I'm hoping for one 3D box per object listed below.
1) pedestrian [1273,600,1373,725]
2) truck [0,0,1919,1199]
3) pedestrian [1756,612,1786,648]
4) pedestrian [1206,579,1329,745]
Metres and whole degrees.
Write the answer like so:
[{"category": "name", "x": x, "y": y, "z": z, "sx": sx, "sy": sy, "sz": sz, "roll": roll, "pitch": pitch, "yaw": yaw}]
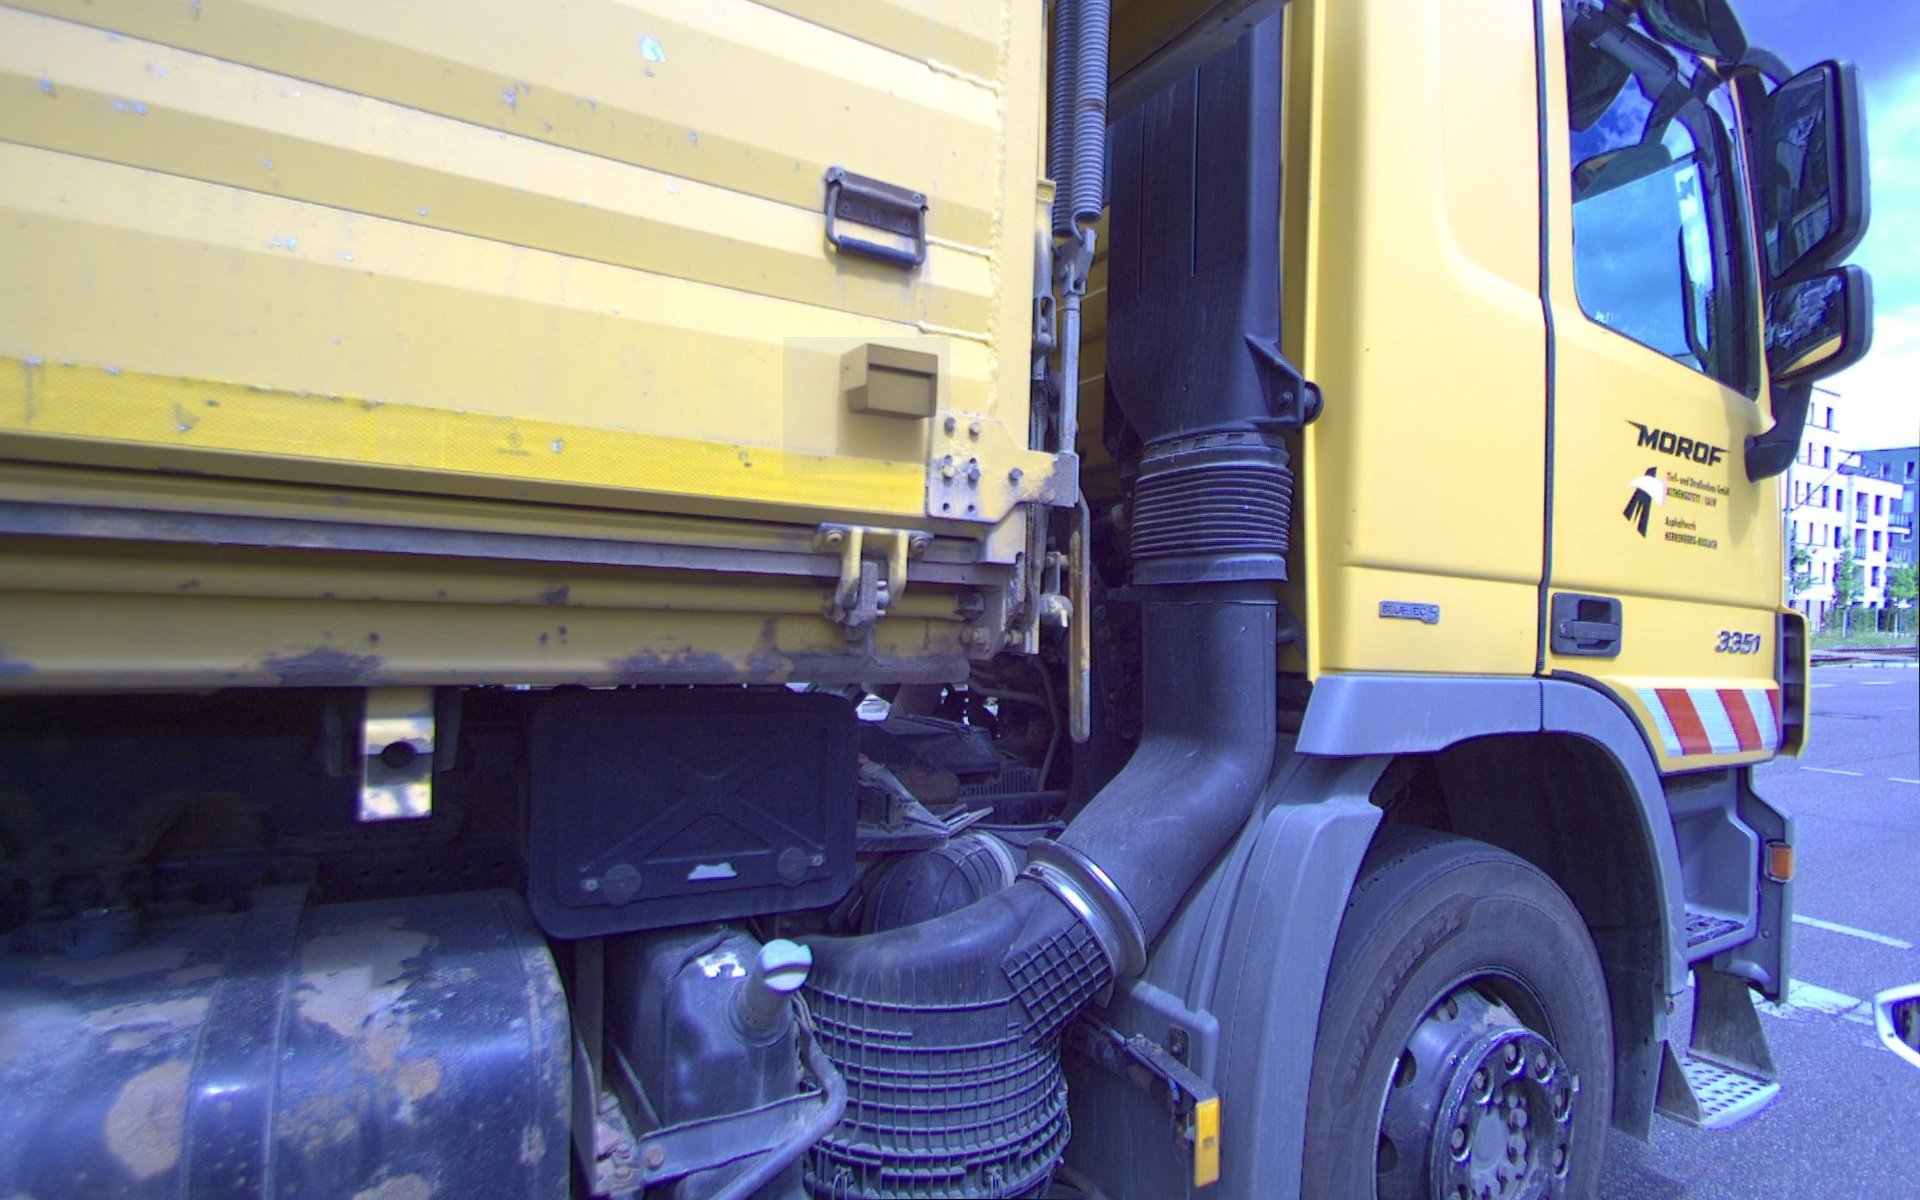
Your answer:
[{"category": "pedestrian", "x": 4.812, "y": 0.791, "z": 13.326, "sx": 0.837, "sy": 1.573, "sz": 0.938, "roll": 1, "pitch": 0, "yaw": -41}, {"category": "truck", "x": -1.604, "y": -0.225, "z": 1.680, "sx": 7.916, "sy": 3.439, "sz": 3.033, "roll": 1, "pitch": 0, "yaw": -32}, {"category": "pedestrian", "x": 35.227, "y": 1.289, "z": 43.632, "sx": 0.628, "sy": 1.536, "sz": 0.827, "roll": 1, "pitch": 0, "yaw": -30}, {"category": "pedestrian", "x": 3.555, "y": 0.680, "z": 11.628, "sx": 0.941, "sy": 1.797, "sz": 1.001, "roll": 1, "pitch": 0, "yaw": -41}]
